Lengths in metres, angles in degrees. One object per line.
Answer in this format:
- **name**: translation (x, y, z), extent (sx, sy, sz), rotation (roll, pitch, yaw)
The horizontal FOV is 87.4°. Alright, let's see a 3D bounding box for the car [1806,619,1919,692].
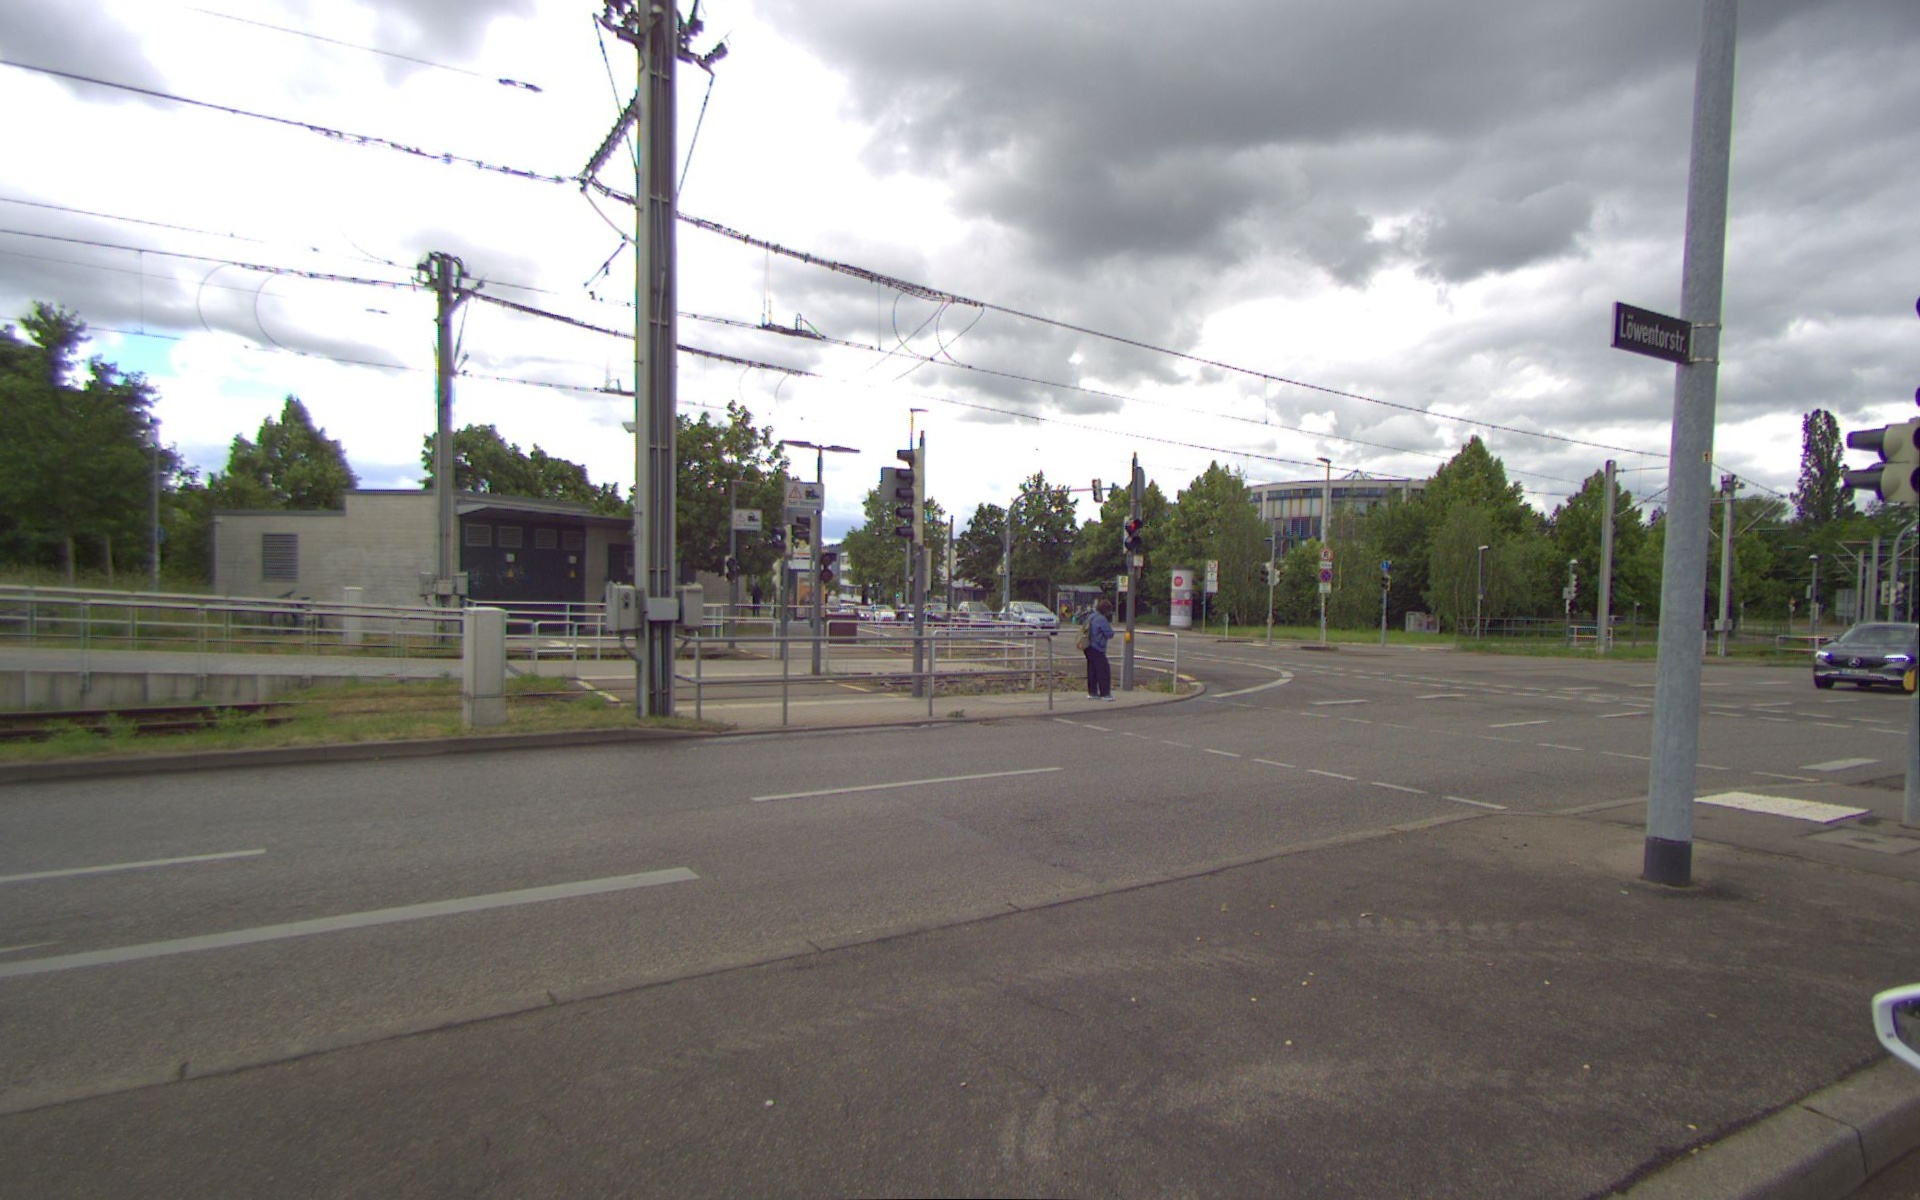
- **car**: translation (22.052, 1.273, 24.113), extent (4.185, 1.567, 1.765), rotation (1, 0, -37)

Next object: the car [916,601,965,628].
- **car**: translation (-1.149, 0.817, 58.170), extent (1.706, 1.456, 3.731), rotation (1, 0, -20)

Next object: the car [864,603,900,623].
- **car**: translation (-5.811, 0.963, 74.786), extent (1.706, 1.456, 3.731), rotation (1, 0, -20)

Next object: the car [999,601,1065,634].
- **car**: translation (3.303, 0.801, 46.814), extent (1.706, 1.456, 3.731), rotation (1, 0, -20)

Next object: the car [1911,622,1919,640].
- **car**: translation (89.210, 2.874, 92.454), extent (1.805, 1.650, 4.410), rotation (0, -1, 36)

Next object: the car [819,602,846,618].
- **car**: translation (-11.929, 0.962, 94.077), extent (1.706, 1.456, 3.731), rotation (1, 0, -20)

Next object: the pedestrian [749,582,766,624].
- **pedestrian**: translation (-9.790, 0.131, 48.530), extent (0.738, 1.993, 0.795), rotation (1, 0, -9)

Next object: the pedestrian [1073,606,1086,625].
- **pedestrian**: translation (8.496, 1.086, 71.522), extent (0.652, 1.322, 0.780), rotation (1, 0, -16)

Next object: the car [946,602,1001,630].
- **car**: translation (0.691, 0.844, 53.674), extent (1.706, 1.456, 3.731), rotation (1, 0, -20)

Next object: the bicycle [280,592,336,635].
- **bicycle**: translation (-17.326, 0.347, 26.682), extent (1.452, 1.101, 0.492), rotation (1, 0, 22)

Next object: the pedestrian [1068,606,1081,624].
- **pedestrian**: translation (8.325, 1.080, 72.925), extent (0.652, 1.321, 0.780), rotation (1, 0, -16)

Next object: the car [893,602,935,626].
- **car**: translation (-3.002, 0.889, 64.936), extent (1.706, 1.456, 3.731), rotation (1, 0, -20)

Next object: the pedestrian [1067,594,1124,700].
- **pedestrian**: translation (2.082, 0.703, 15.444), extent (0.701, 1.584, 0.533), rotation (1, 1, -44)

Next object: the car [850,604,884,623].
- **car**: translation (-7.417, 1.023, 79.689), extent (1.706, 1.456, 3.991), rotation (1, 0, -20)

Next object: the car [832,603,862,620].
- **car**: translation (-9.767, 0.987, 86.721), extent (1.706, 1.456, 3.731), rotation (1, 0, -20)

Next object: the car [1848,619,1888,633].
- **car**: translation (115.519, 3.283, 127.842), extent (1.747, 1.567, 4.027), rotation (1, 0, 7)

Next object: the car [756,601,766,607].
- **car**: translation (-48.000, 0.867, 242.033), extent (1.706, 1.456, 3.731), rotation (1, 0, -20)

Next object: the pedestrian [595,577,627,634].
- **pedestrian**: translation (-10.079, 0.164, 29.003), extent (0.699, 1.628, 0.652), rotation (1, 0, -33)

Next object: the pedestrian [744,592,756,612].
- **pedestrian**: translation (-16.875, 0.160, 80.686), extent (0.771, 1.649, 0.660), rotation (1, 0, -22)
